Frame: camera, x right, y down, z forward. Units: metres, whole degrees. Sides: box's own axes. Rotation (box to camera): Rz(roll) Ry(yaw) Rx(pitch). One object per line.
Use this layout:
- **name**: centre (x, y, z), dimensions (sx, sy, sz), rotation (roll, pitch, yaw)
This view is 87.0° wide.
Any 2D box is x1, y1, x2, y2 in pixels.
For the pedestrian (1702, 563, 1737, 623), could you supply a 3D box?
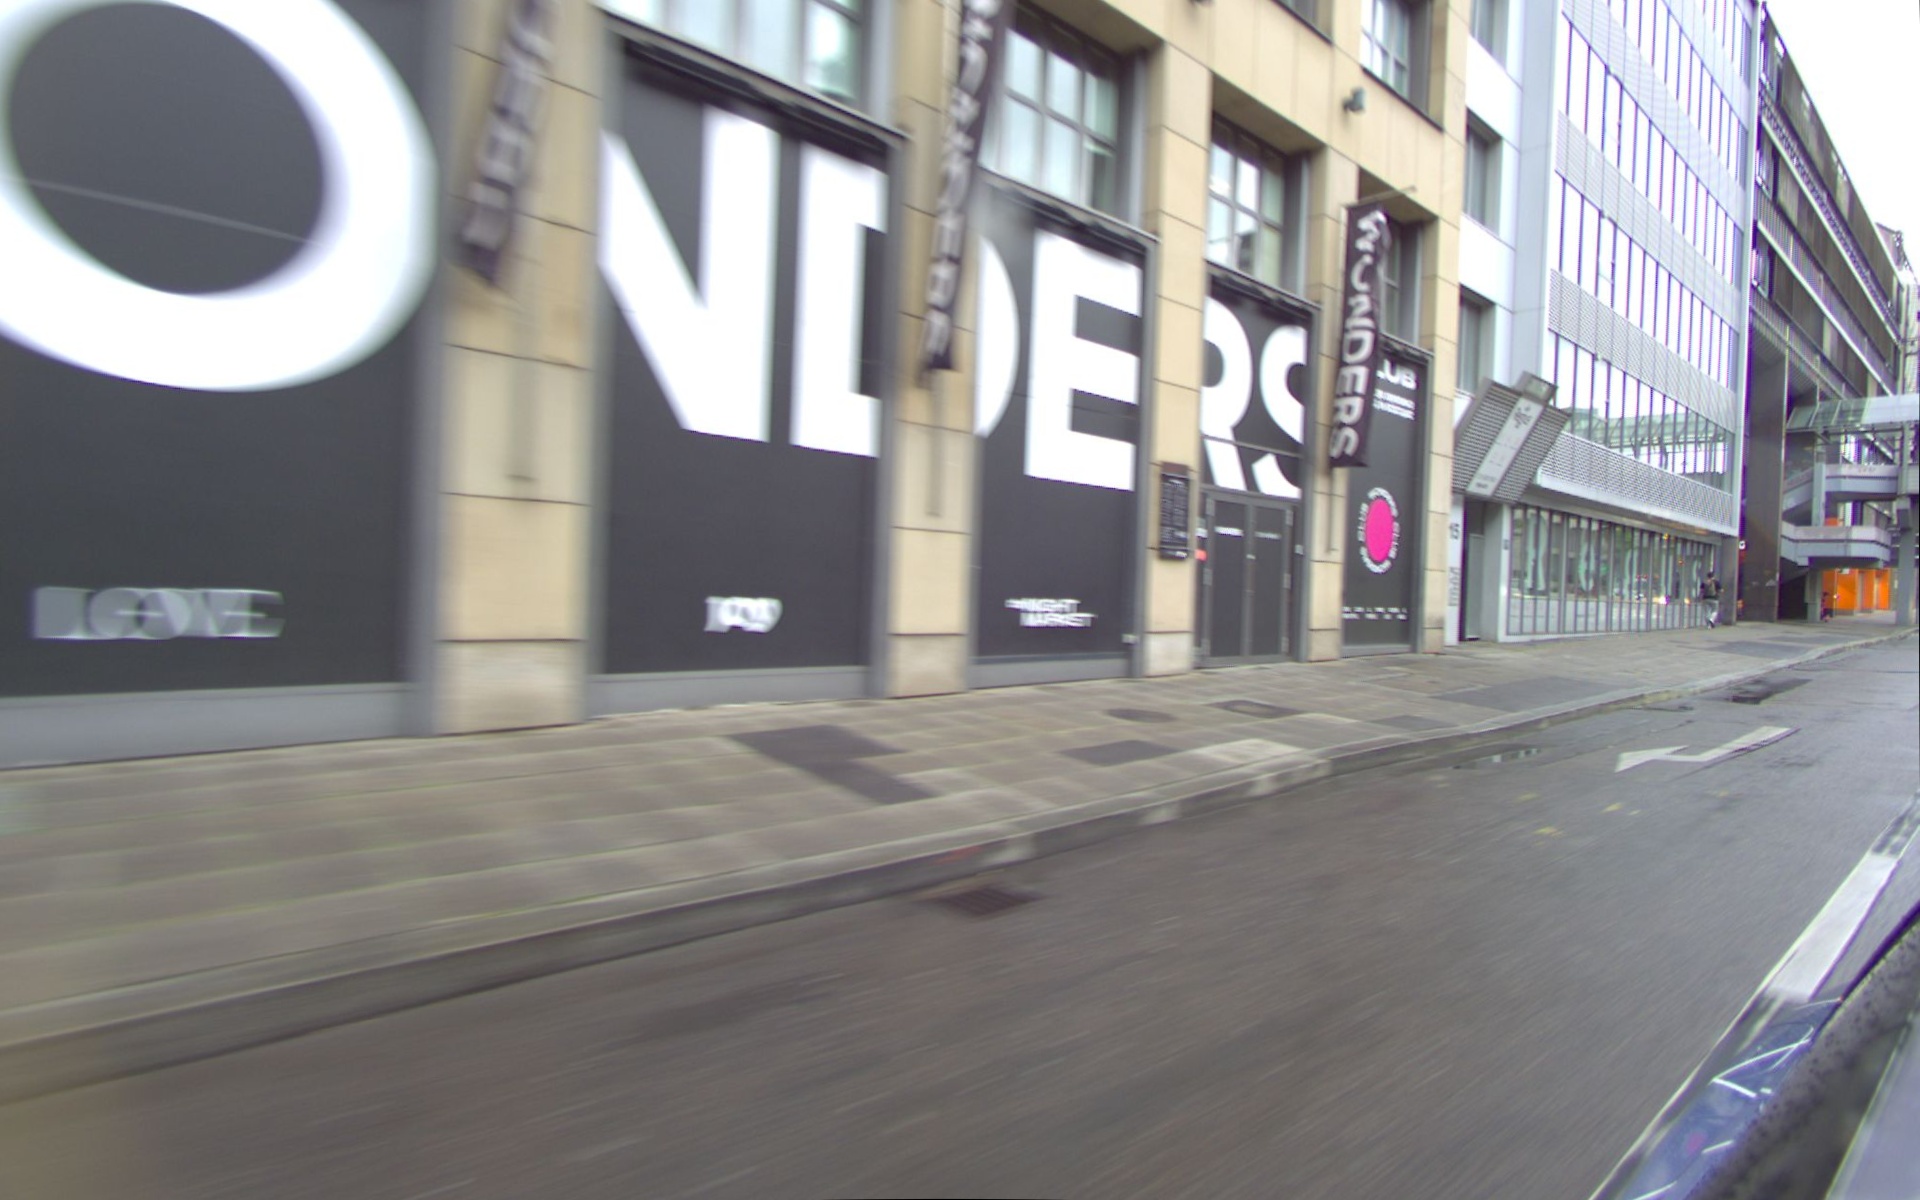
- **pedestrian**: centre (23.889, -0.246, 31.833), dimensions (0.751, 1.855, 0.728), rotation (-1, 2, -42)
